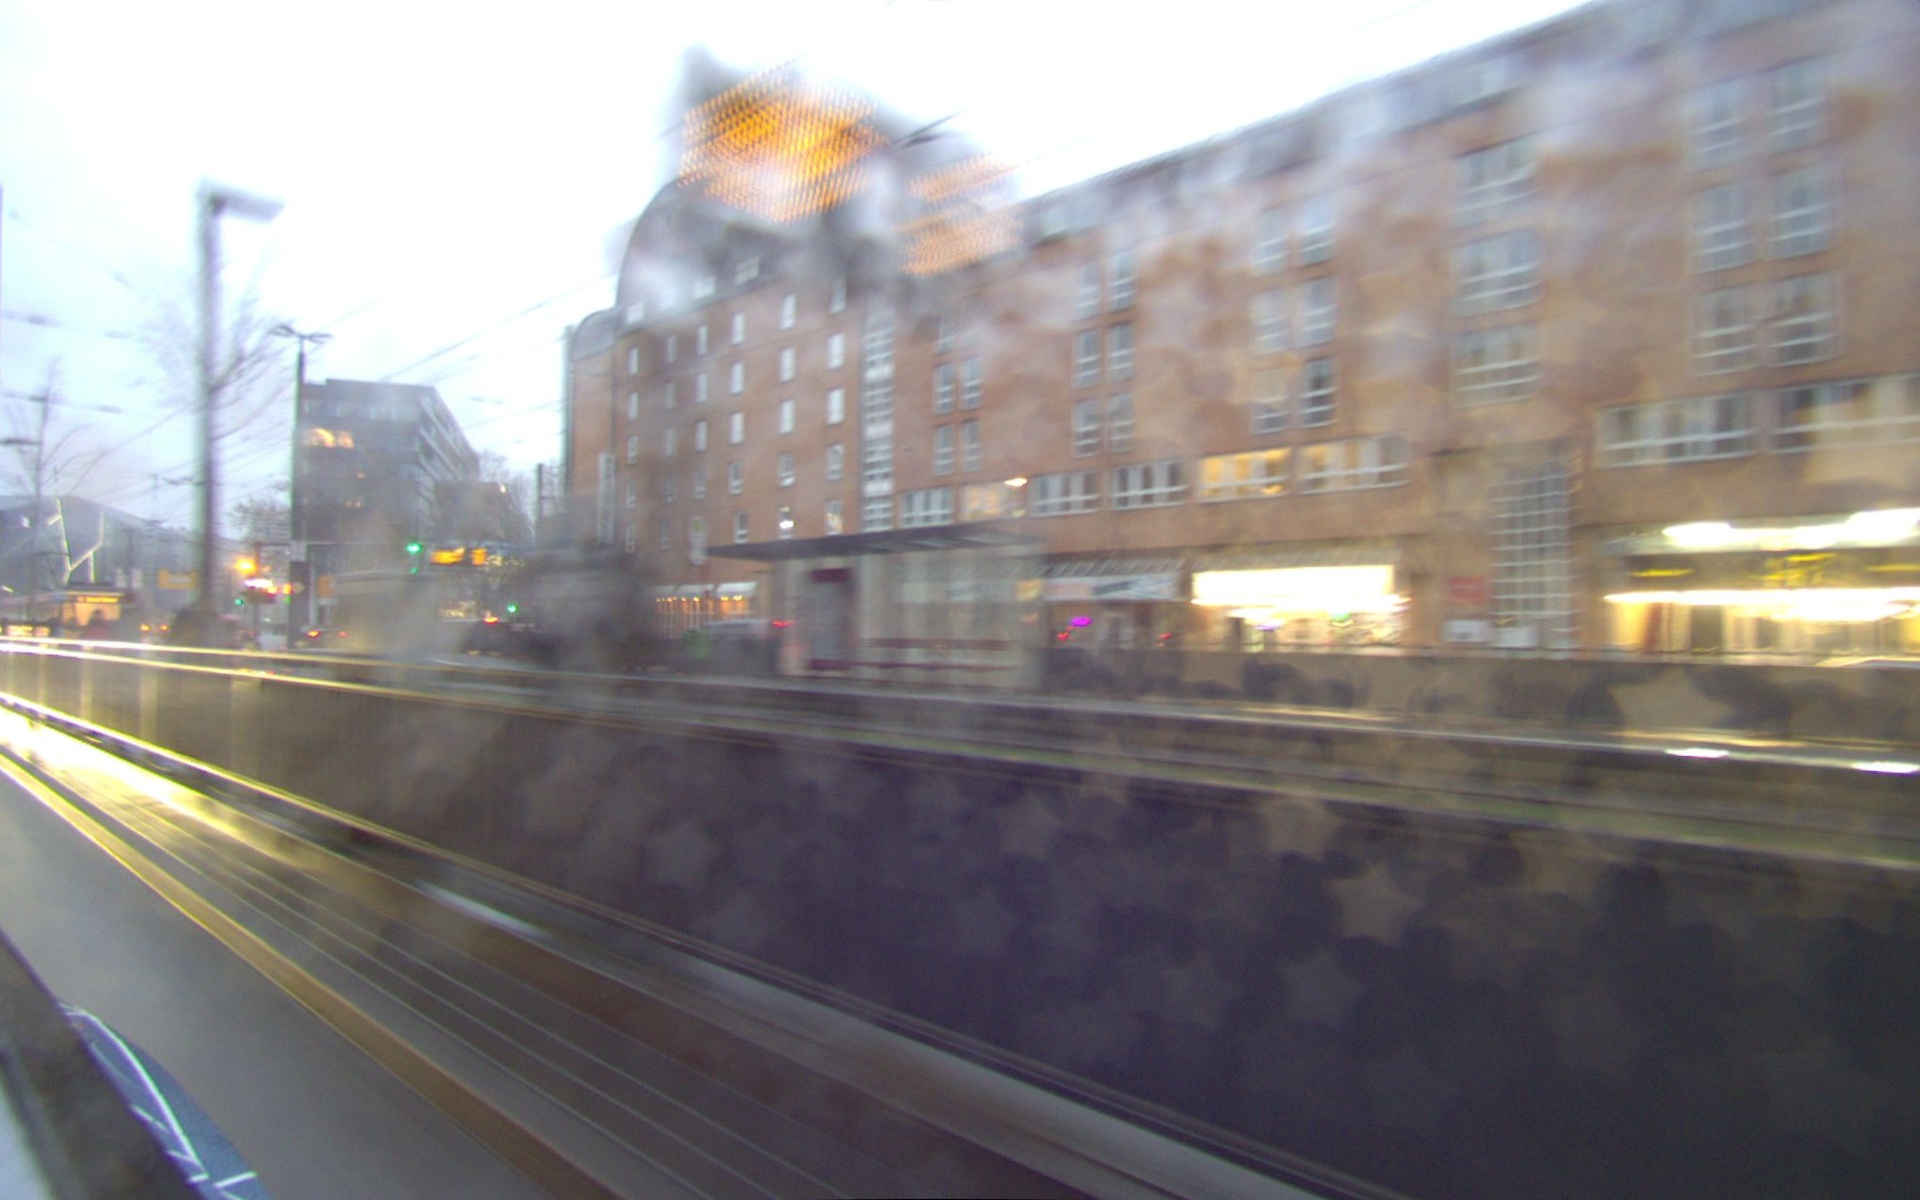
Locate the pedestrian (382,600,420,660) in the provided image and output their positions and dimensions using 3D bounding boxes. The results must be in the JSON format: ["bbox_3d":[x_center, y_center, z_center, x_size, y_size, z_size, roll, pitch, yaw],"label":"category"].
[{"bbox_3d":[-18.080,0.956,32.718,0.882,1.901,0.784,-1,-2,38],"label":"pedestrian"}]

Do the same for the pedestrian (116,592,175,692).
[{"bbox_3d":[-13.417,0.686,16.674,0.621,1.602,0.612,-1,-2,38],"label":"pedestrian"}]

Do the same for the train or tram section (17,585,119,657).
[{"bbox_3d":[-49.281,1.165,55.762,11.031,3.605,2.894,-1,-1,42],"label":"train or tram section"}]

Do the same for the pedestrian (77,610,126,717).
[{"bbox_3d":[-13.868,1.010,16.345,0.562,1.691,0.476,-1,-2,38],"label":"pedestrian"}]

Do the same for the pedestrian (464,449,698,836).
[{"bbox_3d":[-1.848,0.197,5.007,0.768,1.717,0.772,-1,-1,23],"label":"pedestrian"}]

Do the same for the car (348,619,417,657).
[{"bbox_3d":[-24.543,1.597,42.961,3.323,1.528,1.502,-1,-1,40],"label":"car"}]

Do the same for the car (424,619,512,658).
[{"bbox_3d":[-18.252,1.378,37.532,3.543,1.364,1.664,-1,-1,40],"label":"car"}]

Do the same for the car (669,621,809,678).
[{"bbox_3d":[-5.779,1.240,26.359,3.543,1.364,1.801,-1,-1,40],"label":"car"}]

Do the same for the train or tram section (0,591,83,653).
[{"bbox_3d":[-57.939,1.379,63.484,12.250,3.616,2.919,-1,-1,42],"label":"train or tram section"}]

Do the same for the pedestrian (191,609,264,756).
[{"bbox_3d":[-8.760,0.962,12.104,0.643,1.705,0.534,-1,-2,39],"label":"pedestrian"}]

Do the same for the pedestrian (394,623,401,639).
[{"bbox_3d":[-63.437,3.477,114.137,0.715,1.721,0.696,2,-3,-30],"label":"pedestrian"}]

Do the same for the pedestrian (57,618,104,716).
[{"bbox_3d":[-14.725,1.113,16.953,0.562,1.602,0.476,-1,-2,38],"label":"pedestrian"}]

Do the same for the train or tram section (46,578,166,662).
[{"bbox_3d":[-41.018,0.963,48.425,11.031,3.595,2.869,-1,-1,42],"label":"train or tram section"}]
